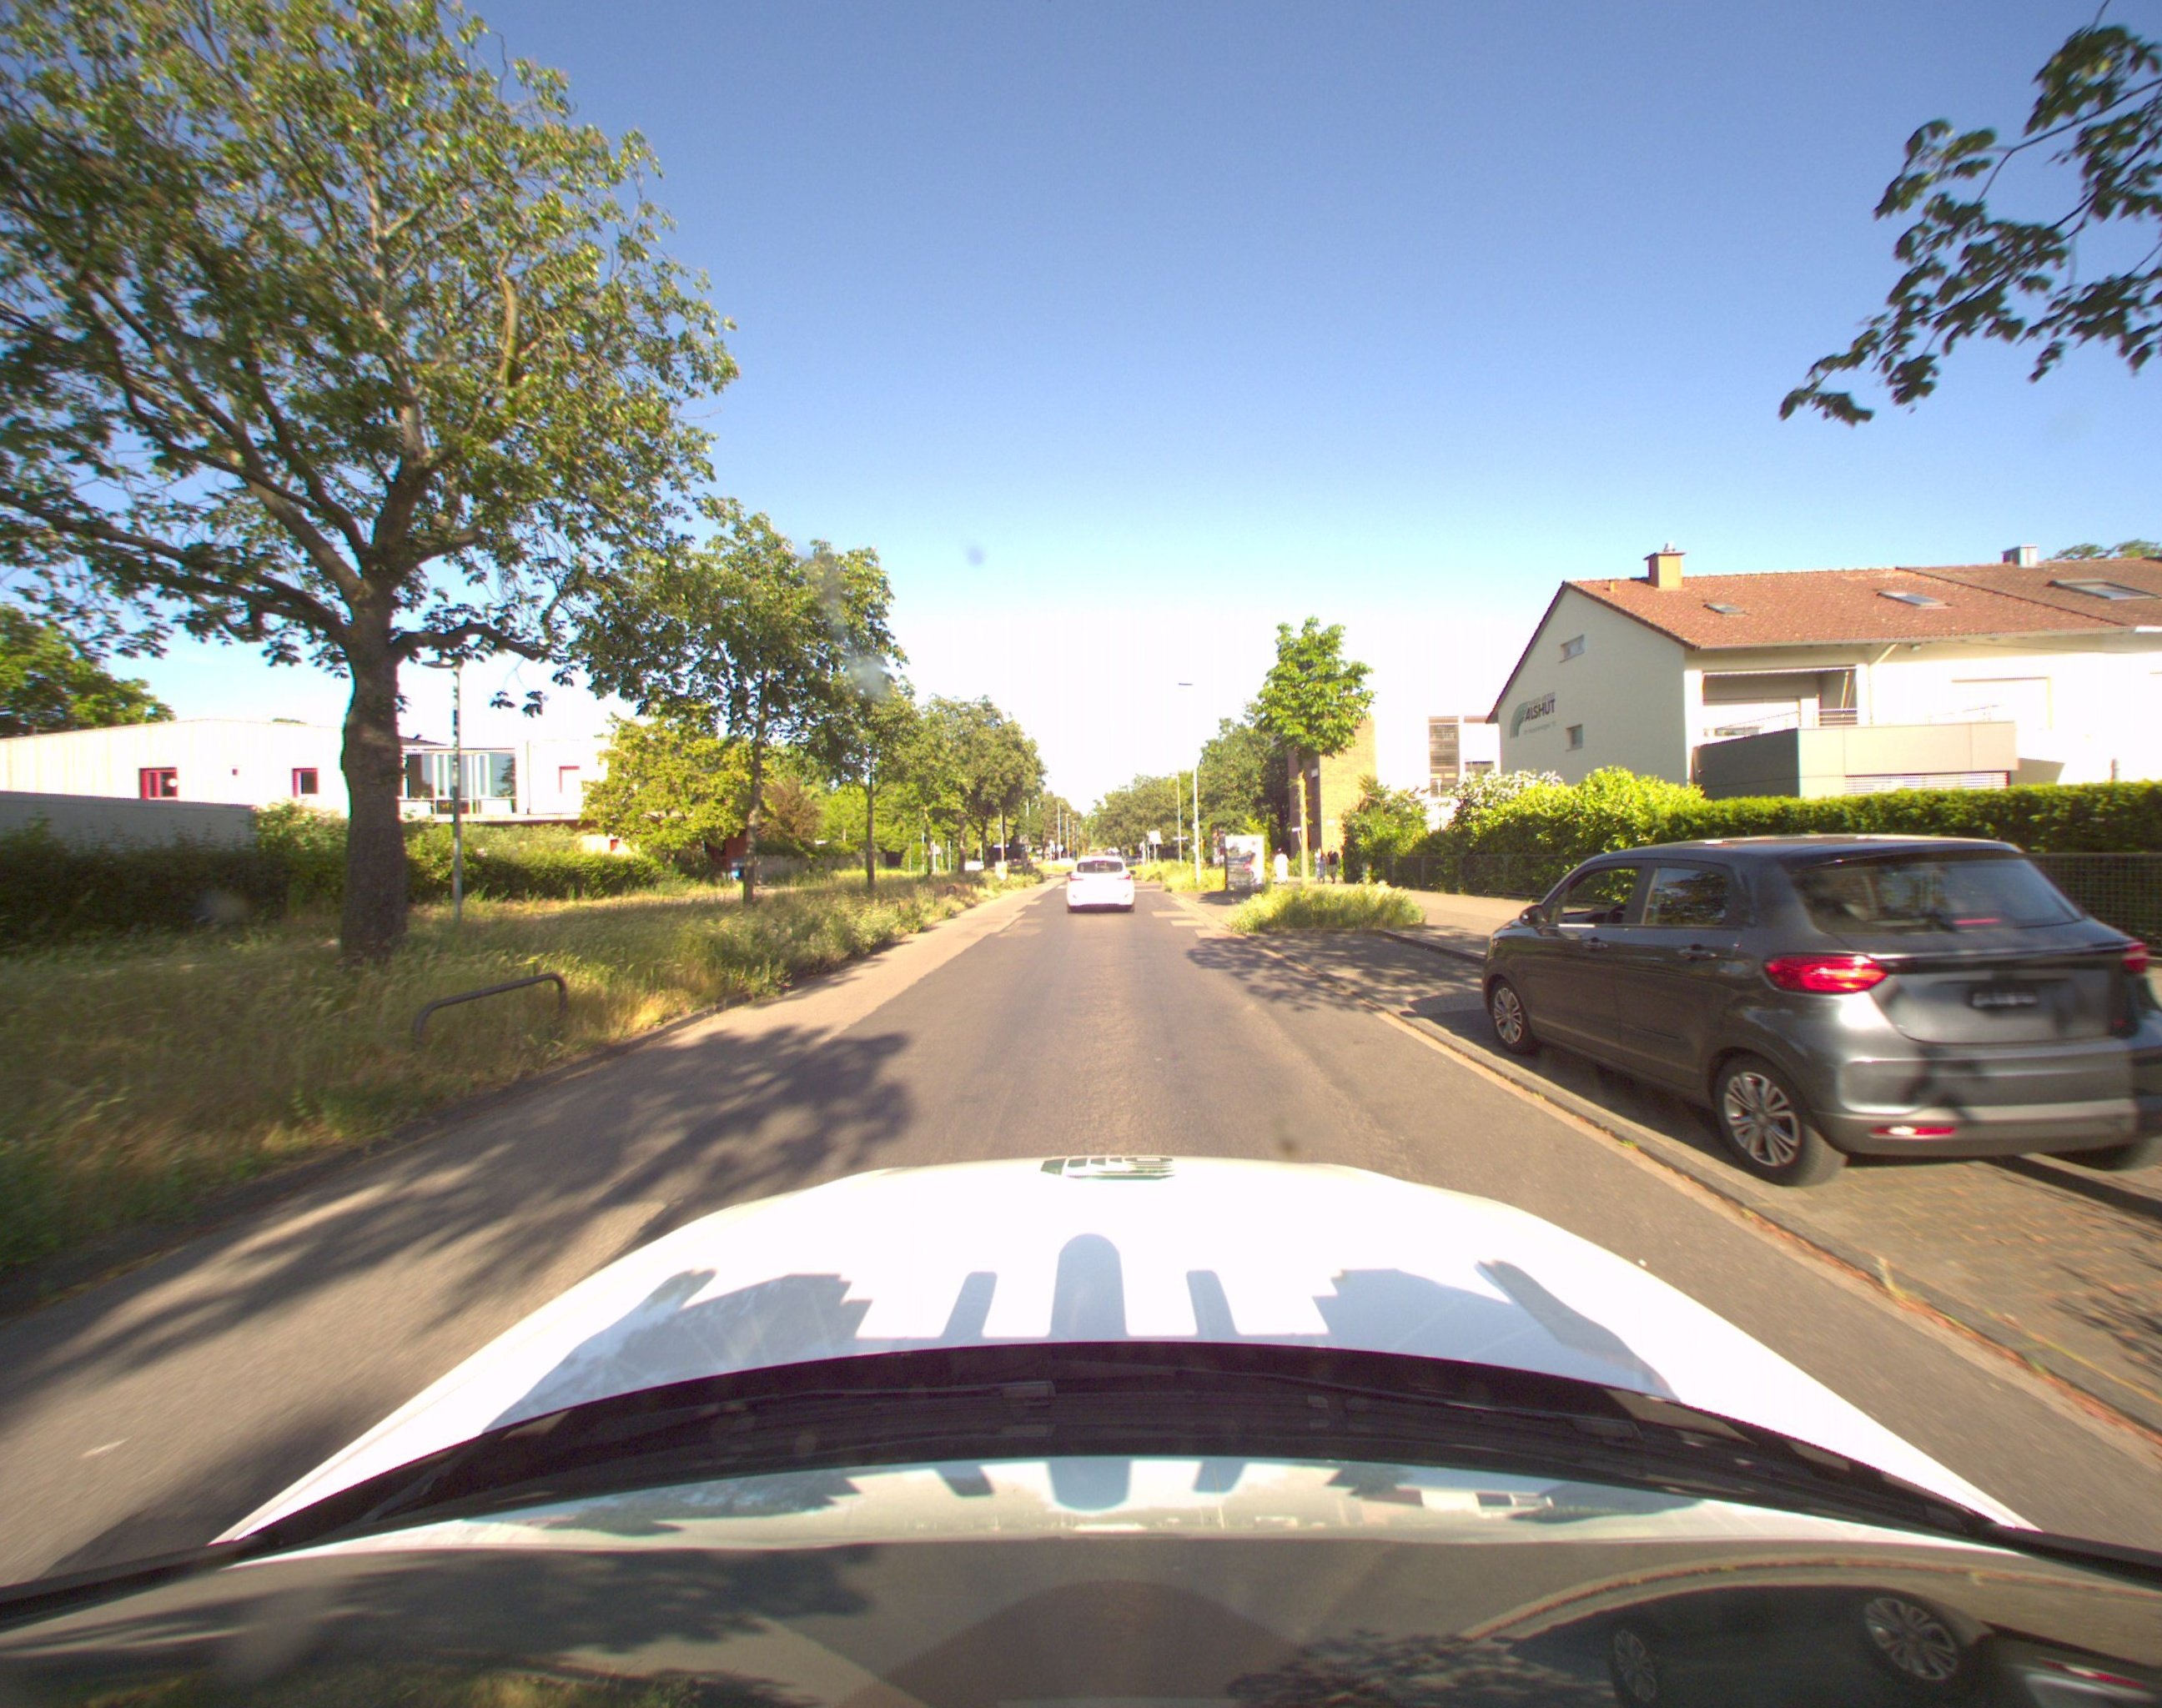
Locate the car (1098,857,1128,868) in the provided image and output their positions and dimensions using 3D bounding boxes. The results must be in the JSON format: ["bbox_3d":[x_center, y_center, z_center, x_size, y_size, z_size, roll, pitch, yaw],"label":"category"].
[{"bbox_3d":[4.946,1.273,125.437,4.479,1.630,1.856,-1,0,3],"label":"car"}]

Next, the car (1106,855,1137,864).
[{"bbox_3d":[7.434,1.037,149.166,5.594,1.684,1.948,0,-1,1],"label":"car"}]

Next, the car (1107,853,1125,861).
[{"bbox_3d":[8.320,0.680,192.915,4.286,1.908,1.864,0,-1,1],"label":"car"}]

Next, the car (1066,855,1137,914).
[{"bbox_3d":[0.570,0.776,22.655,1.783,1.463,3.964,-1,0,1],"label":"car"}]

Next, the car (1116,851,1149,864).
[{"bbox_3d":[7.210,0.472,113.553,4.479,1.783,1.856,-1,0,3],"label":"car"}]

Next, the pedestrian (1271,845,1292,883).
[{"bbox_3d":[9.681,0.499,39.375,0.892,1.822,0.740,-1,-1,21],"label":"pedestrian"}]

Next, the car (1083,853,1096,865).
[{"bbox_3d":[1.381,0.789,130.118,1.986,1.816,4.001,1,0,1],"label":"car"}]

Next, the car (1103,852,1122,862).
[{"bbox_3d":[6.452,0.663,165.609,3.805,2.098,1.864,0,-1,1],"label":"car"}]

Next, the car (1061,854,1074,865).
[{"bbox_3d":[-2.293,0.958,137.700,1.986,1.815,4.002,0,1,1],"label":"car"}]

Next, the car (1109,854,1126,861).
[{"bbox_3d":[8.477,0.811,189.762,3.805,1.767,1.864,0,-1,1],"label":"car"}]

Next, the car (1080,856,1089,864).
[{"bbox_3d":[0.782,1.360,186.206,1.986,1.816,4.001,0,0,1],"label":"car"}]

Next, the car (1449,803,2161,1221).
[{"bbox_3d":[3.866,0.633,5.071,1.488,1.574,3.601,-4,0,1],"label":"car"}]

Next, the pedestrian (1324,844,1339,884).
[{"bbox_3d":[11.019,0.446,35.855,0.601,1.732,0.642,-1,-1,17],"label":"pedestrian"}]

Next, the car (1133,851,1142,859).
[{"bbox_3d":[12.506,0.274,180.422,1.986,1.816,4.001,0,-1,1],"label":"car"}]

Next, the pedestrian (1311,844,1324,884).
[{"bbox_3d":[10.458,0.438,36.022,0.550,1.732,0.664,-1,-1,17],"label":"pedestrian"}]

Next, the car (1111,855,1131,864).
[{"bbox_3d":[7.680,1.054,155.549,3.805,1.684,1.864,0,-1,1],"label":"car"}]
